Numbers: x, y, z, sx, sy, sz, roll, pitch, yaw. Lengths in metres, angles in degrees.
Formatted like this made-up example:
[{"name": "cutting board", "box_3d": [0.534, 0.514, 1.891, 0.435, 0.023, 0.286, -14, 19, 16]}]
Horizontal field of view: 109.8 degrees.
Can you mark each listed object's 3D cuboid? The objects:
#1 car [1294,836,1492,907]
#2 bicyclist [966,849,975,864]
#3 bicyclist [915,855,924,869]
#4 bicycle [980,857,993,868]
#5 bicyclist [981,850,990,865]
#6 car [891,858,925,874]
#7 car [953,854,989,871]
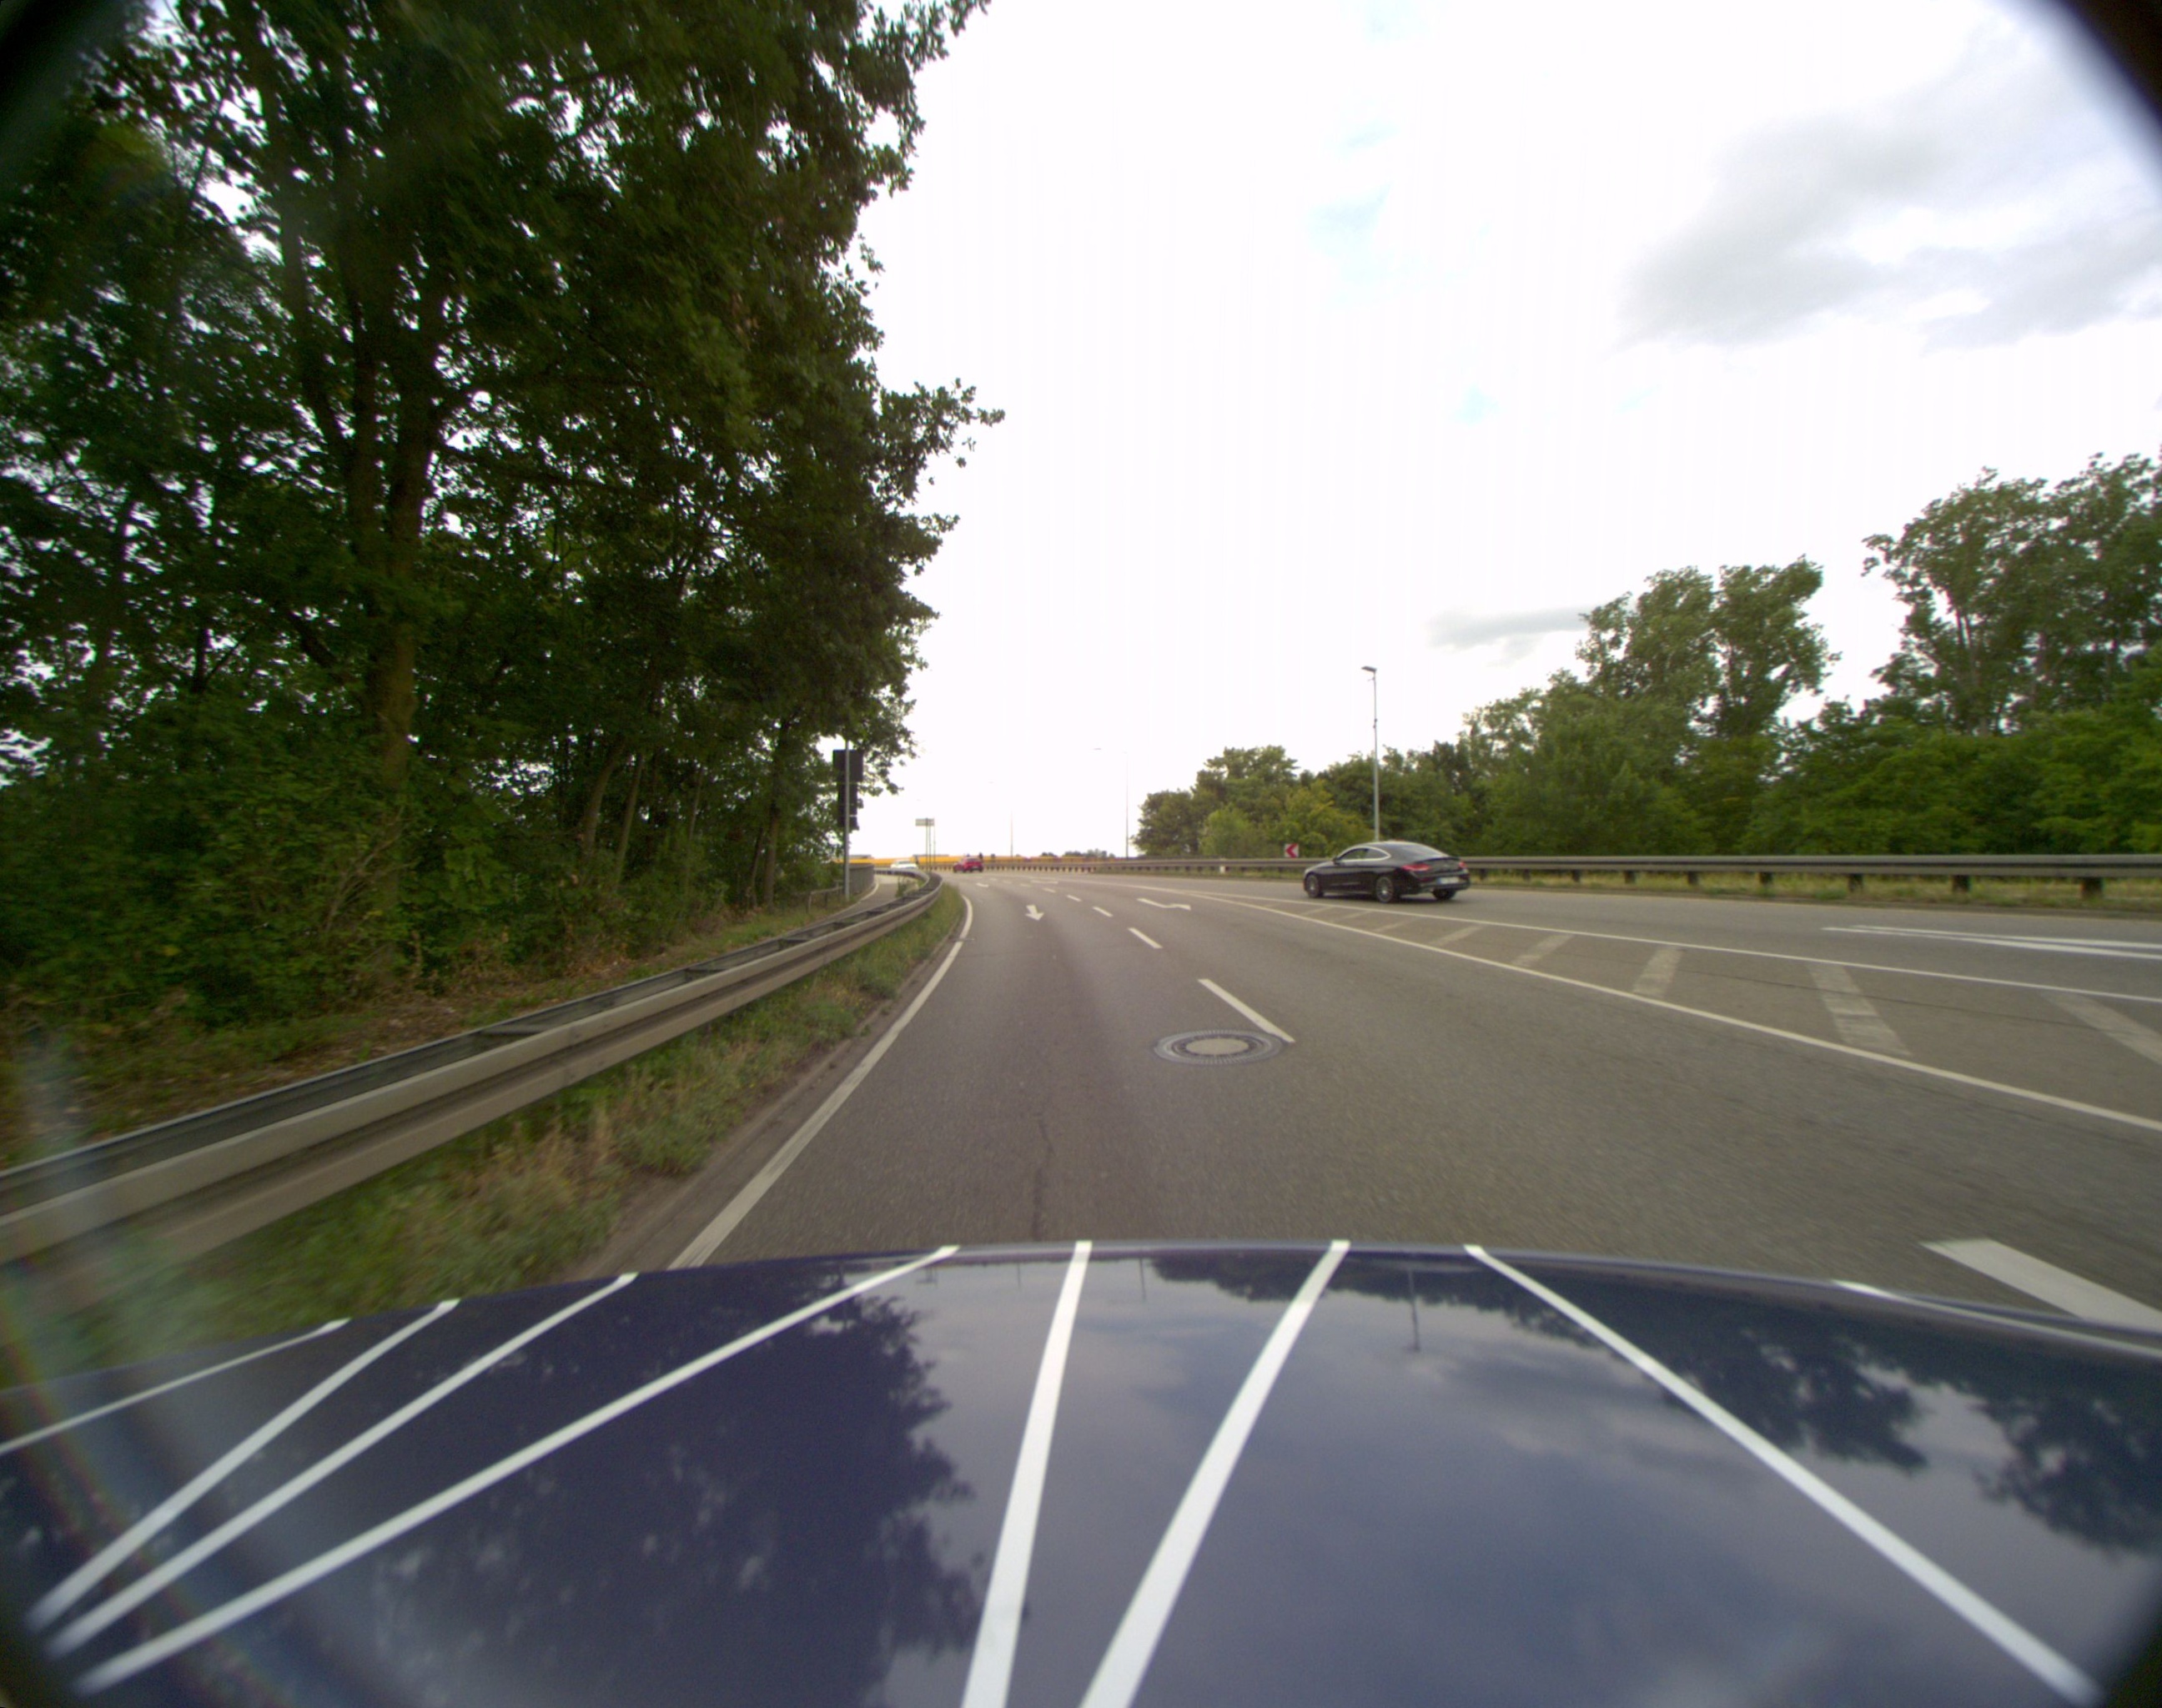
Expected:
[{"name": "car", "box_3d": [7.326, 0.374, 18.460, 2.001, 1.447, 4.647, -2, 0, -15]}, {"name": "bicyclist", "box_3d": [-11.770, 0.284, 81.219, 0.613, 1.531, 0.755, -2, 1, -39]}, {"name": "bicyclist", "box_3d": [-20.481, 1.021, 96.409, 0.853, 1.798, 0.794, -2, 1, -36]}, {"name": "bicycle", "box_3d": [-10.077, 0.932, 80.889, 0.638, 1.167, 1.902, -2, 1, -28]}, {"name": "bicyclist", "box_3d": [-10.174, 0.372, 80.857, 0.775, 1.622, 0.648, -2, 2, -26]}, {"name": "car", "box_3d": [-16.704, 1.129, 73.408, 1.942, 1.448, 3.876, 2, -1, -33]}, {"name": "car", "box_3d": [-10.213, 0.742, 70.269, 1.804, 1.463, 4.626, -2, 0, -27]}]
